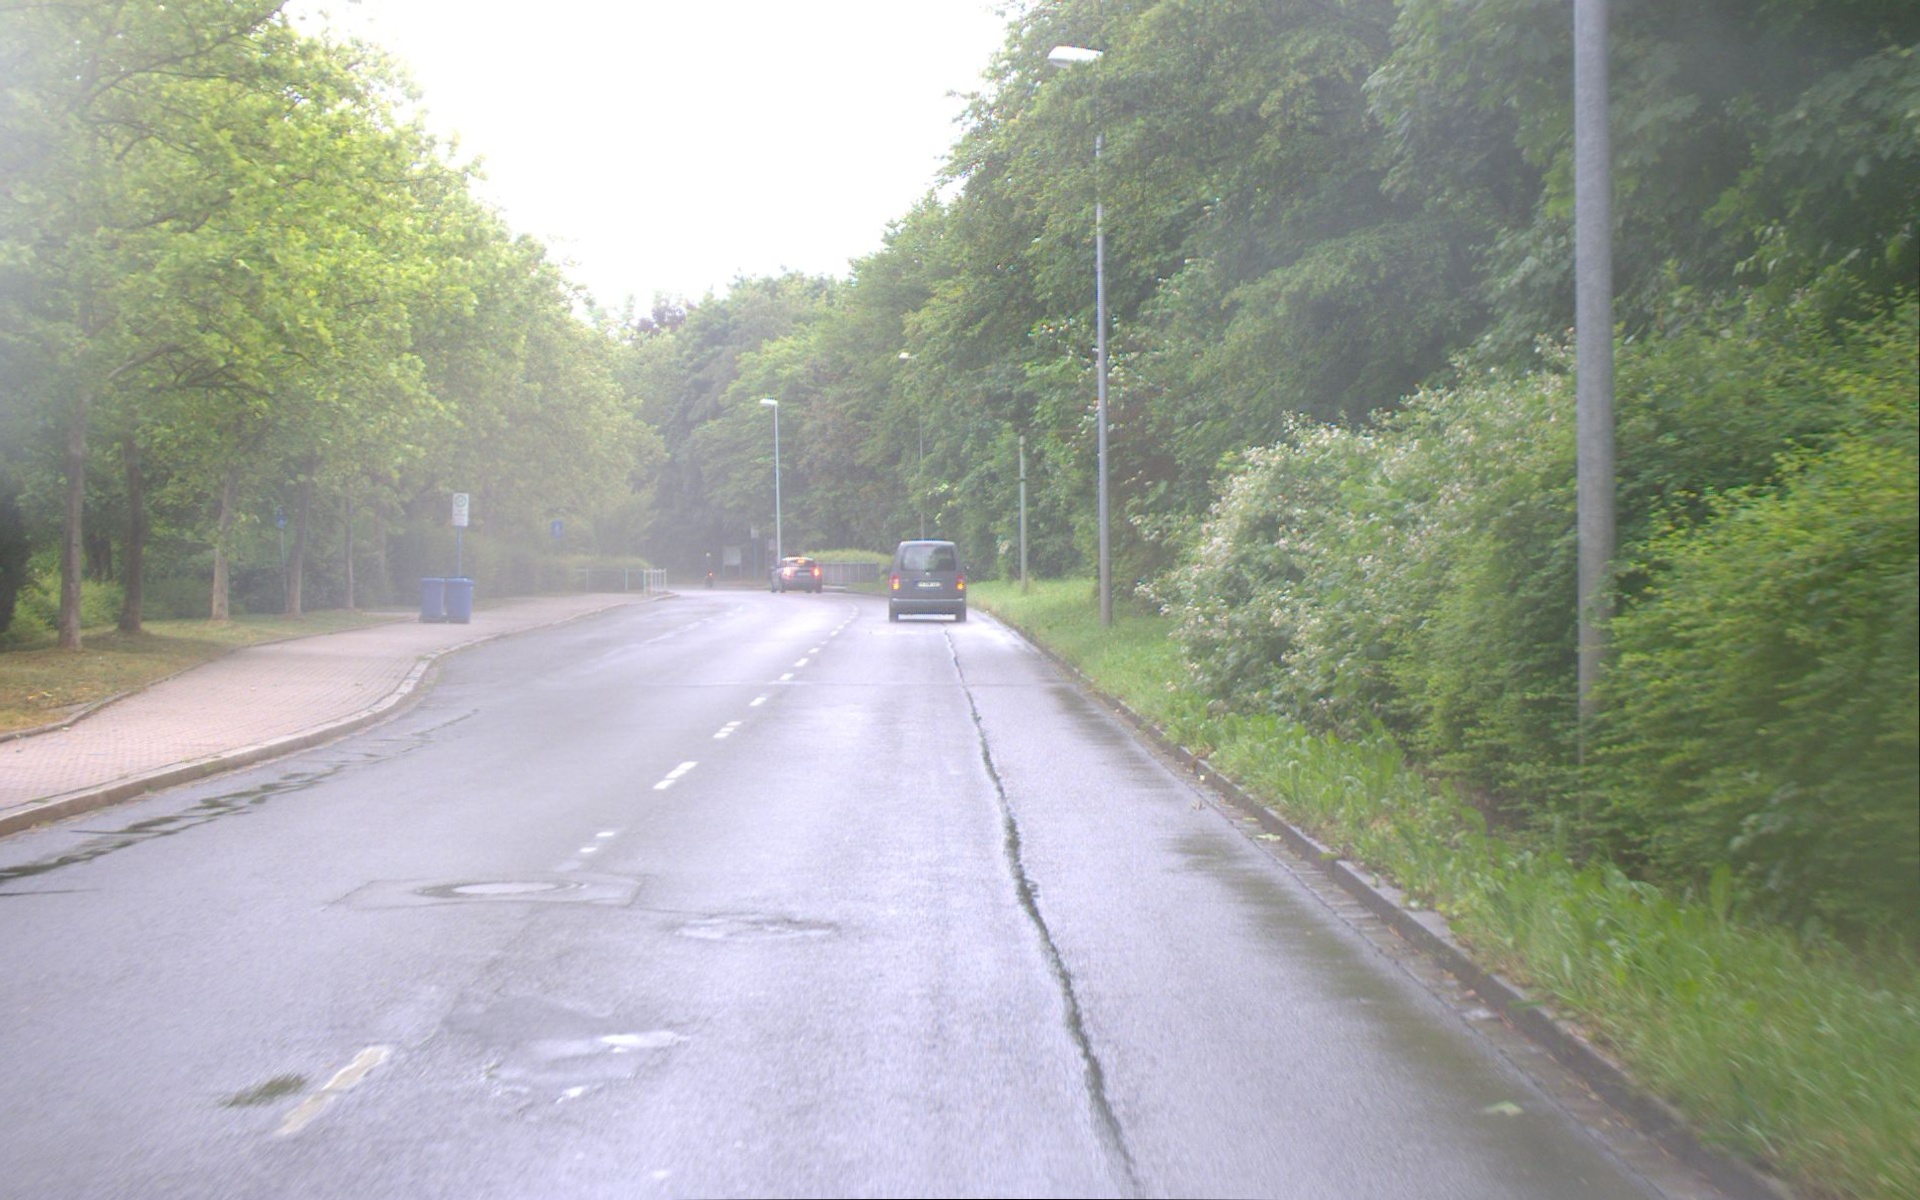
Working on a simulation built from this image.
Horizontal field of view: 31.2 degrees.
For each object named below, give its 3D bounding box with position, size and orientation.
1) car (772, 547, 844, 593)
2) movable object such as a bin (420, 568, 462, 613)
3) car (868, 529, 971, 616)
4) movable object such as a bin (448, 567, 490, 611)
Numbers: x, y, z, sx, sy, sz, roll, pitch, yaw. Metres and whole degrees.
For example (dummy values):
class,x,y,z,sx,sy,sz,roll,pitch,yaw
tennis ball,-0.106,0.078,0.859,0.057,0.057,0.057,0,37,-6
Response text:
class,x,y,z,sx,sy,sz,roll,pitch,yaw
car,-6.108,-1.230,137.801,1.993,1.766,4.001,-2,1,-15
movable object such as a bin,-12.336,-0.219,81.739,0.666,1.023,0.835,-3,1,-32
car,-0.947,-0.647,78.371,1.993,1.787,4.001,2,2,-5
movable object such as a bin,-11.738,-0.254,82.122,0.666,1.023,0.835,-3,1,-32
